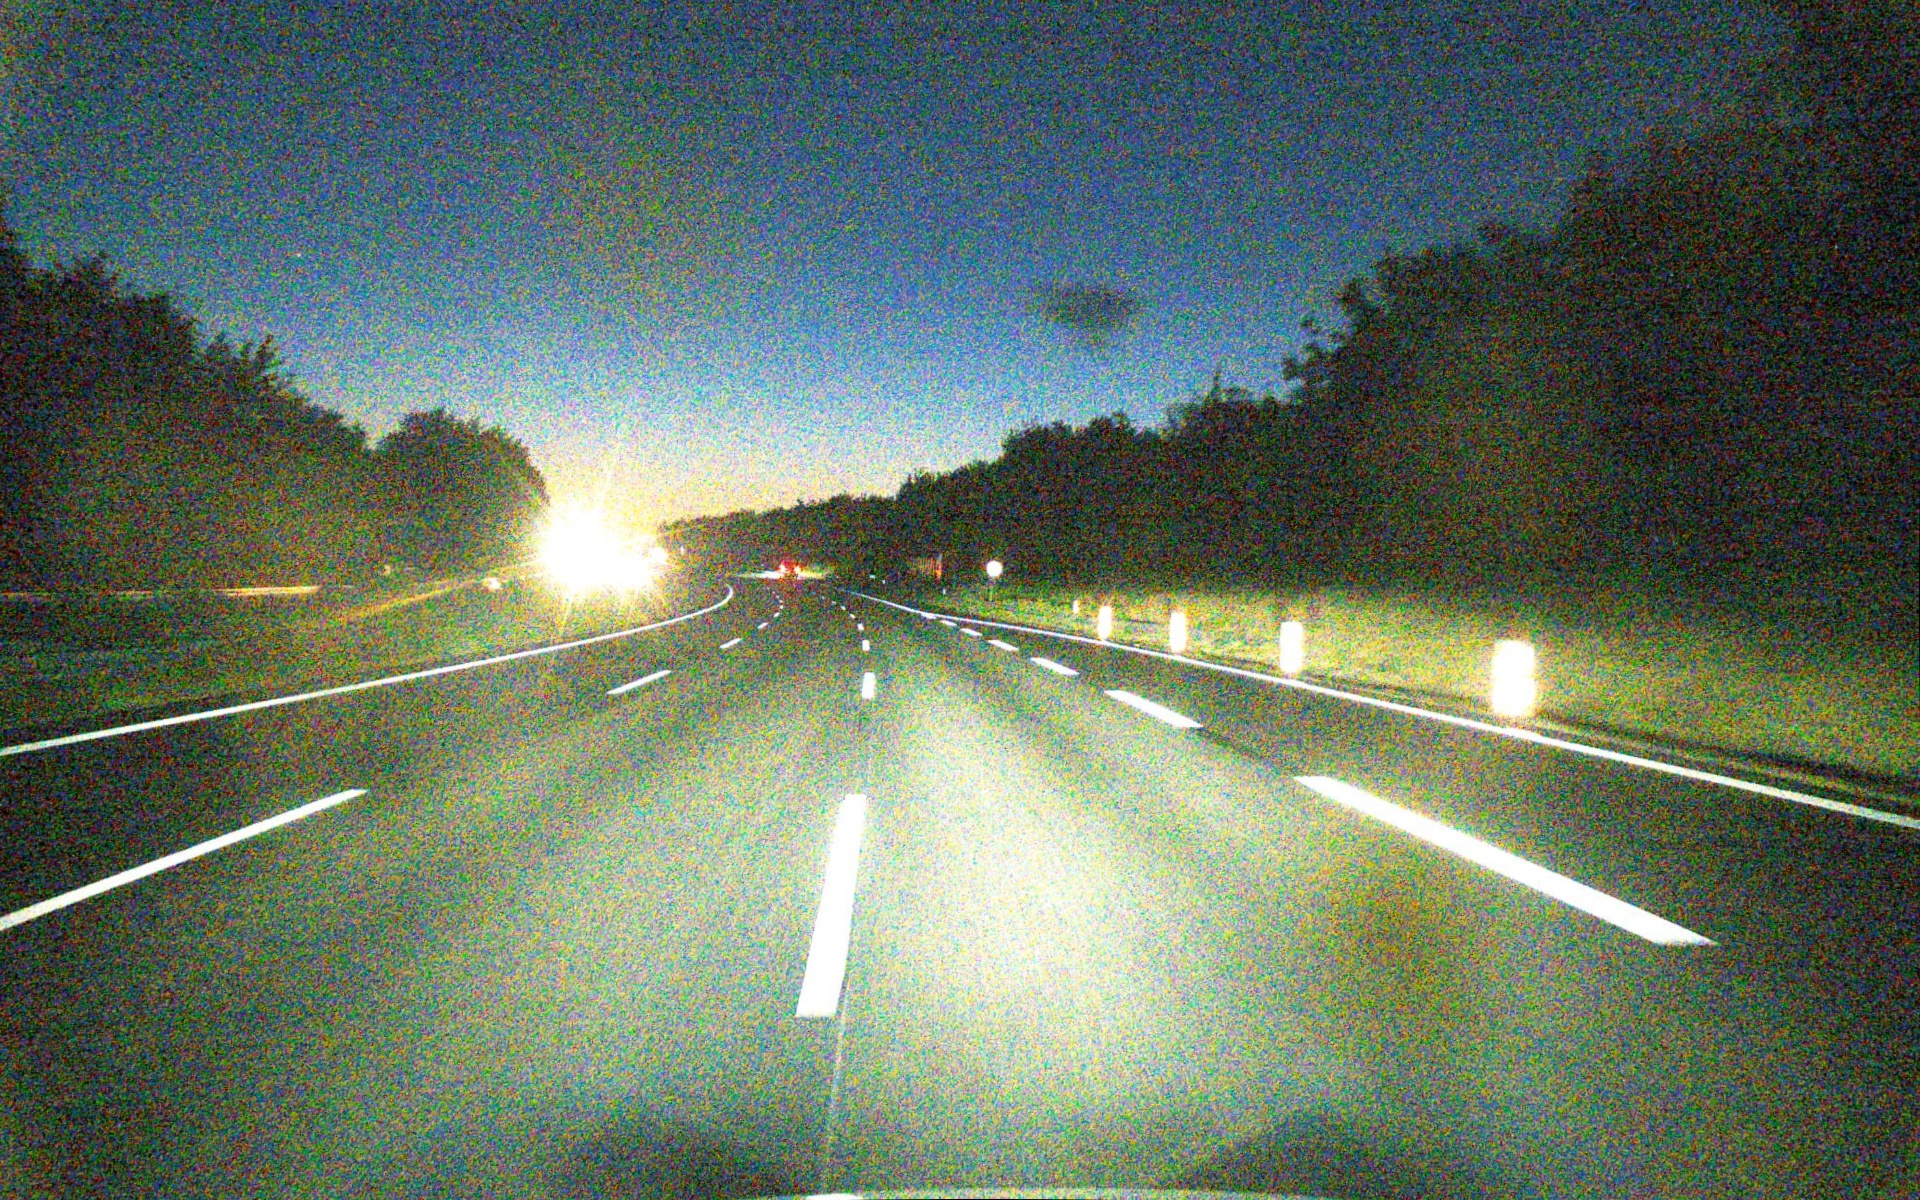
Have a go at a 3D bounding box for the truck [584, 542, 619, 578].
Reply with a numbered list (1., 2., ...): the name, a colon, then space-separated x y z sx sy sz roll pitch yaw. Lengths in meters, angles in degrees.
1. truck: -42.222 -4.700 194.847 3.522 4.171 5.984 0 1 -8

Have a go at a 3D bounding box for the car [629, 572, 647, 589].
1. car: -35.644 -2.161 183.060 1.958 1.756 4.066 0 2 -12

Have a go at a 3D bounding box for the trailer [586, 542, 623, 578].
1. trailer: -43.103 -4.788 200.953 3.532 4.161 14.098 0 1 -8

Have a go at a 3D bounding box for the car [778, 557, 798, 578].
1. car: -22.707 -4.269 218.954 2.479 2.597 6.044 3 1 -6
